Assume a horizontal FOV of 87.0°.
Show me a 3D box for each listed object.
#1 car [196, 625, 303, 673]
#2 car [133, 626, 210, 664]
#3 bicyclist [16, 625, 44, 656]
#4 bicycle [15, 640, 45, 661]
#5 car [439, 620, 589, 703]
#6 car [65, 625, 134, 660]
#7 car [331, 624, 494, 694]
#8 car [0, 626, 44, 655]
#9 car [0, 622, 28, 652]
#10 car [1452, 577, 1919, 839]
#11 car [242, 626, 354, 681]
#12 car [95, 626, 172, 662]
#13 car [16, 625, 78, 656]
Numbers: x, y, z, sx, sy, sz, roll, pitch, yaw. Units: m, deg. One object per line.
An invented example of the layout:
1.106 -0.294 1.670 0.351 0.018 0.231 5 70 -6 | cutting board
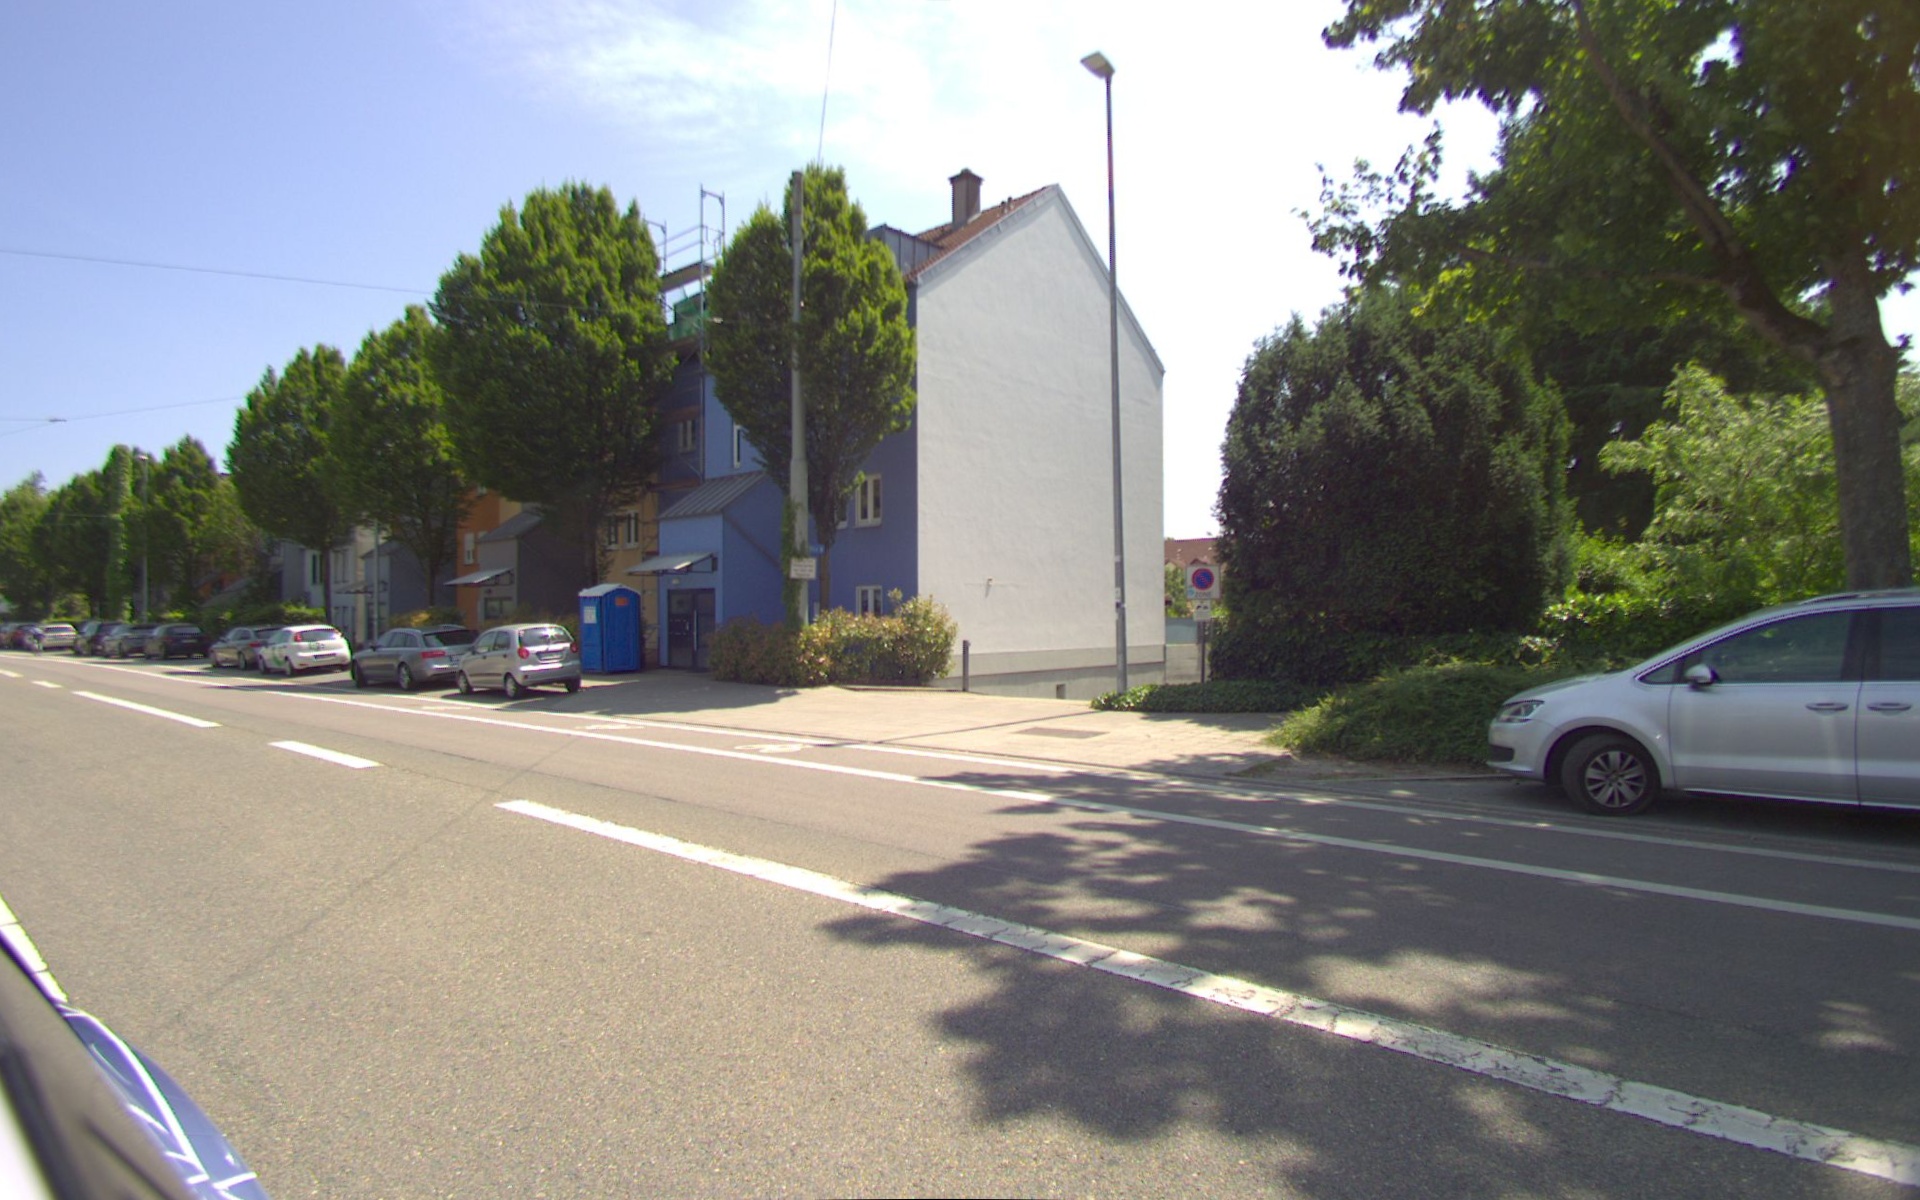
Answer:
-25.032 1.708 35.591 4.744 1.440 1.688 -2 3 38 | car
-33.475 1.884 42.934 4.254 1.443 1.732 -1 1 40 | car
-44.969 1.958 48.947 1.123 1.442 0.728 -1 -5 38 | bicyclist
-45.026 2.444 48.970 2.240 0.958 0.695 -2 -4 39 | bicycle
-9.708 1.281 21.940 3.447 1.506 1.577 -2 3 41 | car
-42.277 2.071 49.714 4.142 1.601 1.750 -2 0 38 | car
-13.813 1.450 25.372 5.129 1.461 1.769 -2 2 40 | car
-56.026 2.400 60.082 3.673 1.606 1.586 -2 0 35 | car
-60.187 2.324 63.227 4.548 1.807 1.976 -1 -1 35 | car
6.467 0.702 7.460 4.778 1.677 1.853 -2 -1 41 | car
-21.030 1.652 32.098 4.417 1.453 1.729 -2 3 41 | car
-37.697 1.988 46.124 4.752 1.507 1.807 -2 0 39 | car
-51.170 2.263 56.713 4.490 1.594 1.823 -2 0 38 | car
